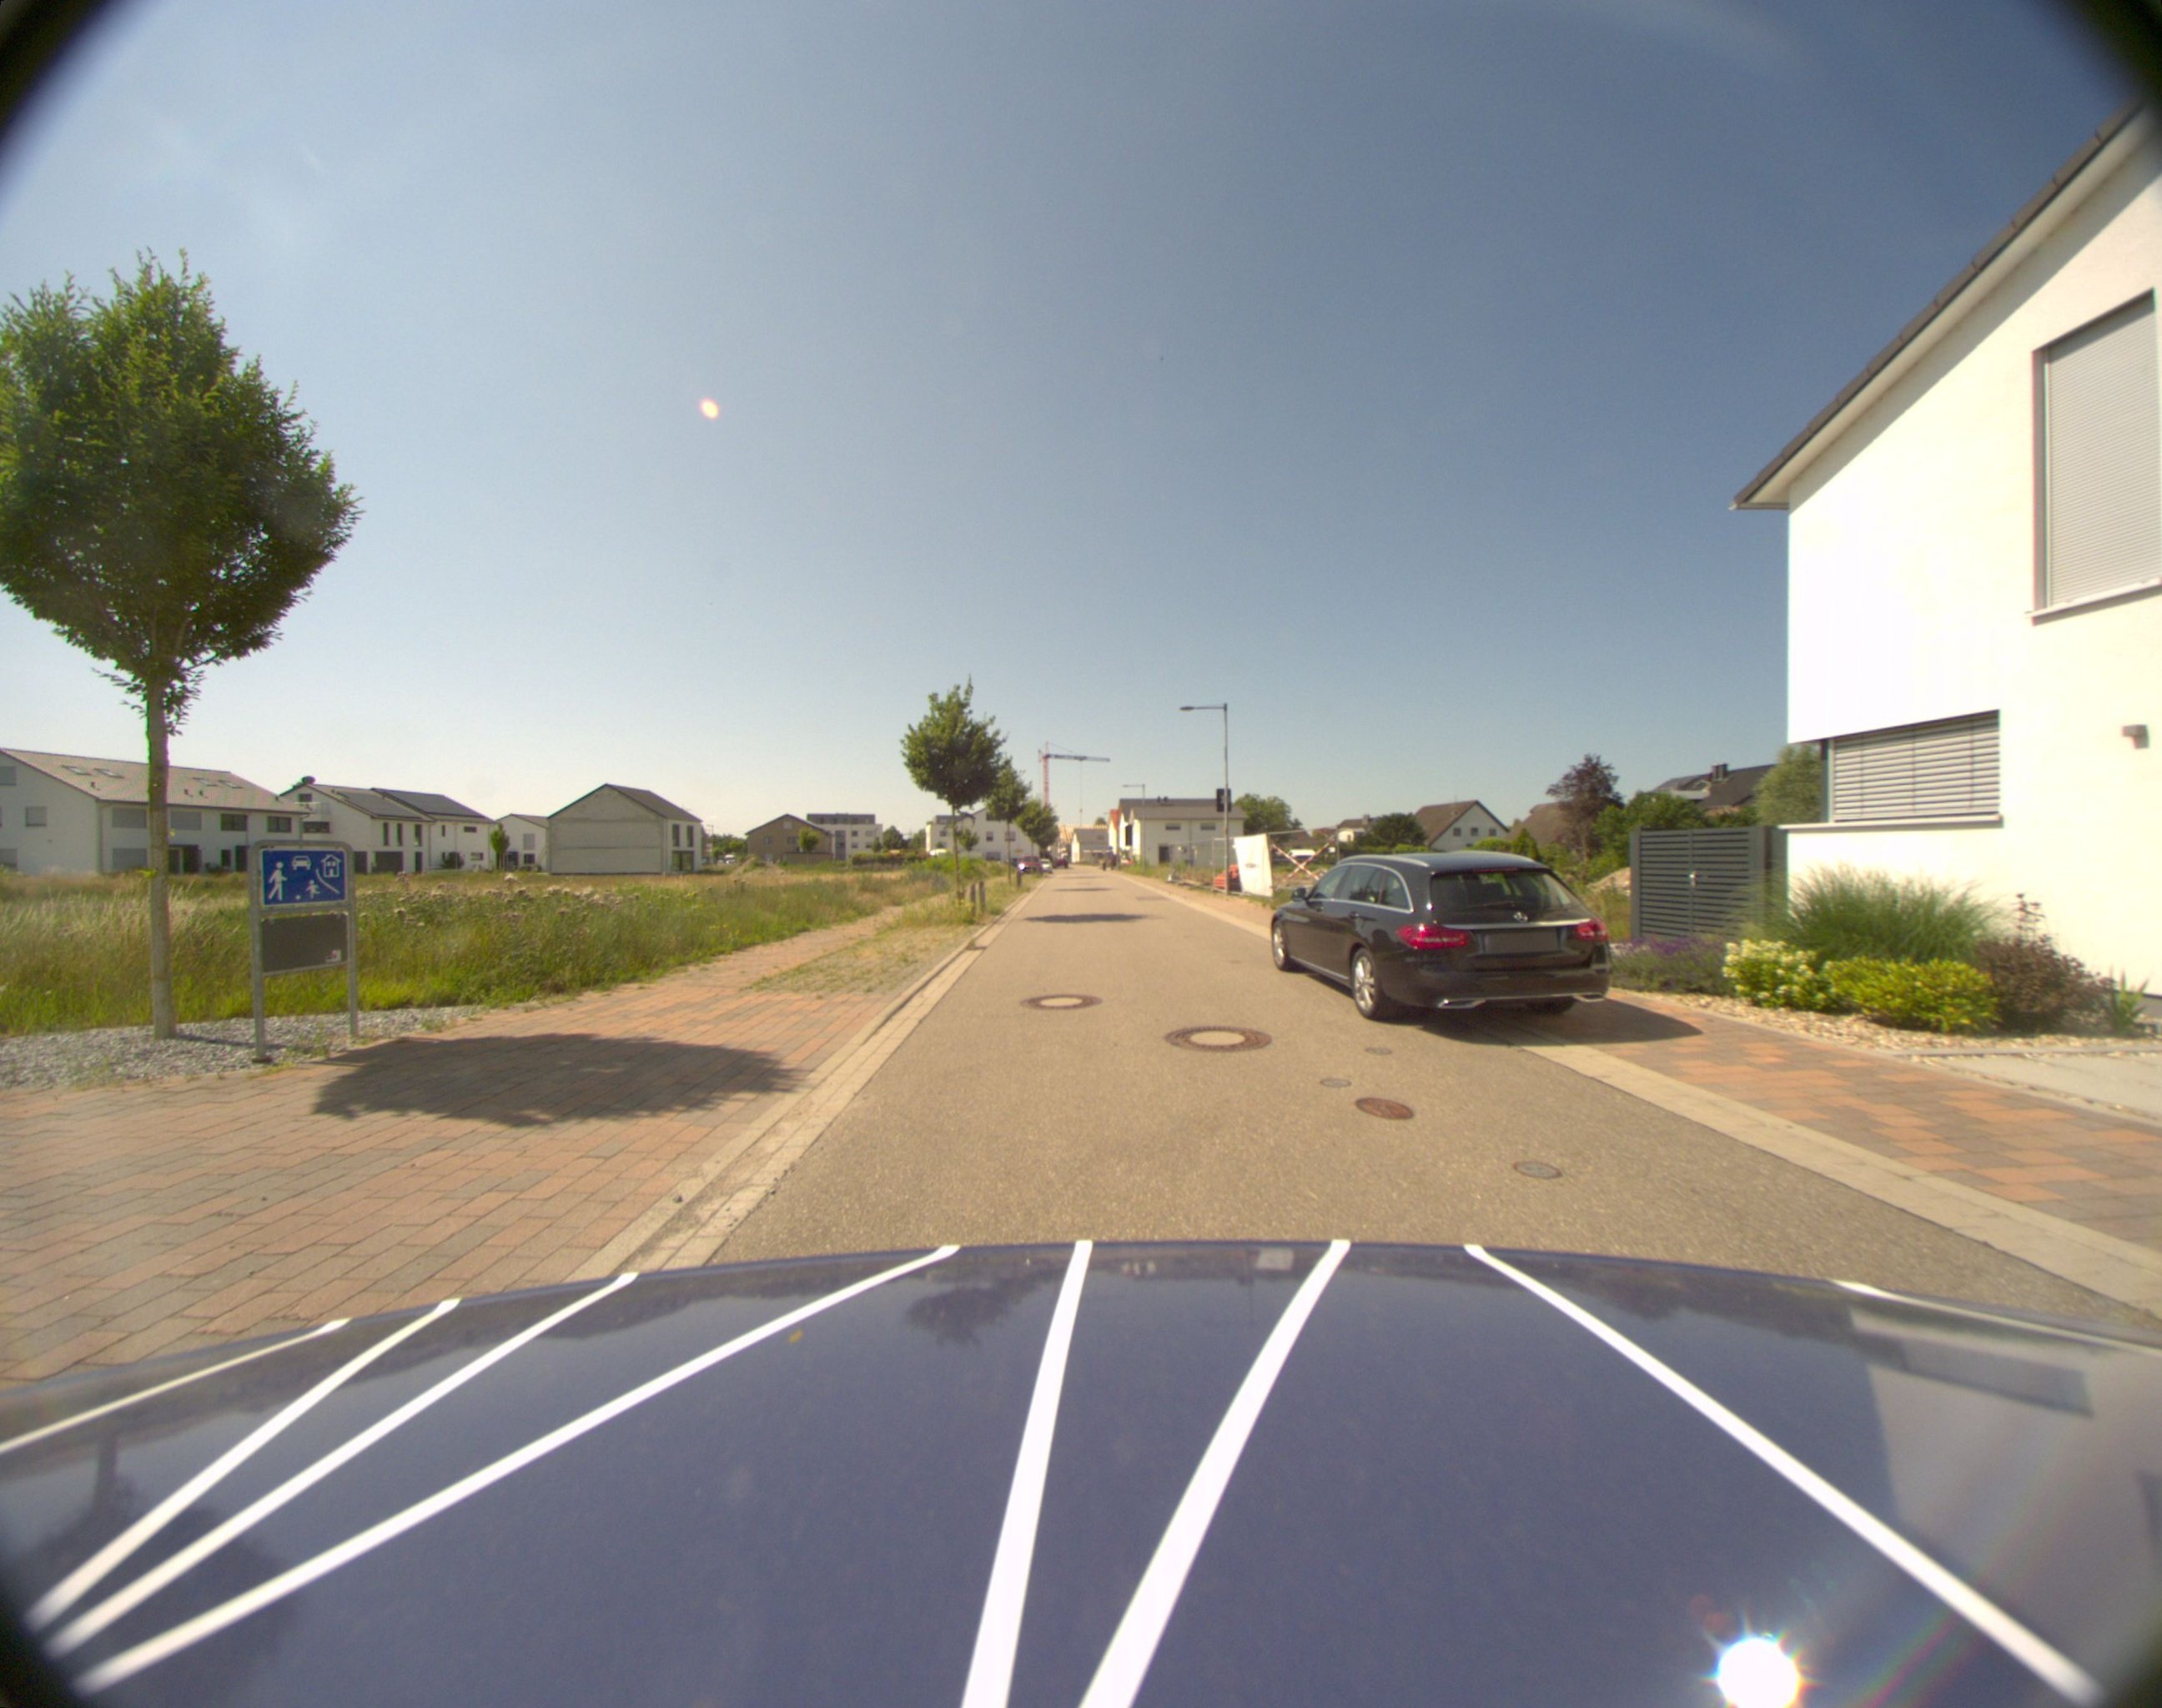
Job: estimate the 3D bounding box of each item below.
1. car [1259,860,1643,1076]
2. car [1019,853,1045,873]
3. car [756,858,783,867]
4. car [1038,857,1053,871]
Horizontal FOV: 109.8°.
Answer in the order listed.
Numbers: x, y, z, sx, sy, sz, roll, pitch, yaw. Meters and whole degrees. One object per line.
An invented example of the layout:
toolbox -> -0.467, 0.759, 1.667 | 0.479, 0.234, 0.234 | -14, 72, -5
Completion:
car -> 3.230, 0.853, 7.779 | 1.695, 1.464, 4.444 | -2, 0, -1
car -> -3.802, 0.698, 59.474 | 1.769, 1.483, 3.999 | -1, 0, -1
car -> -52.366, 1.397, 127.770 | 4.000, 1.444, 1.633 | -1, 0, -9
car -> -3.671, 1.048, 79.144 | 1.493, 1.389, 3.272 | -1, 0, -1
